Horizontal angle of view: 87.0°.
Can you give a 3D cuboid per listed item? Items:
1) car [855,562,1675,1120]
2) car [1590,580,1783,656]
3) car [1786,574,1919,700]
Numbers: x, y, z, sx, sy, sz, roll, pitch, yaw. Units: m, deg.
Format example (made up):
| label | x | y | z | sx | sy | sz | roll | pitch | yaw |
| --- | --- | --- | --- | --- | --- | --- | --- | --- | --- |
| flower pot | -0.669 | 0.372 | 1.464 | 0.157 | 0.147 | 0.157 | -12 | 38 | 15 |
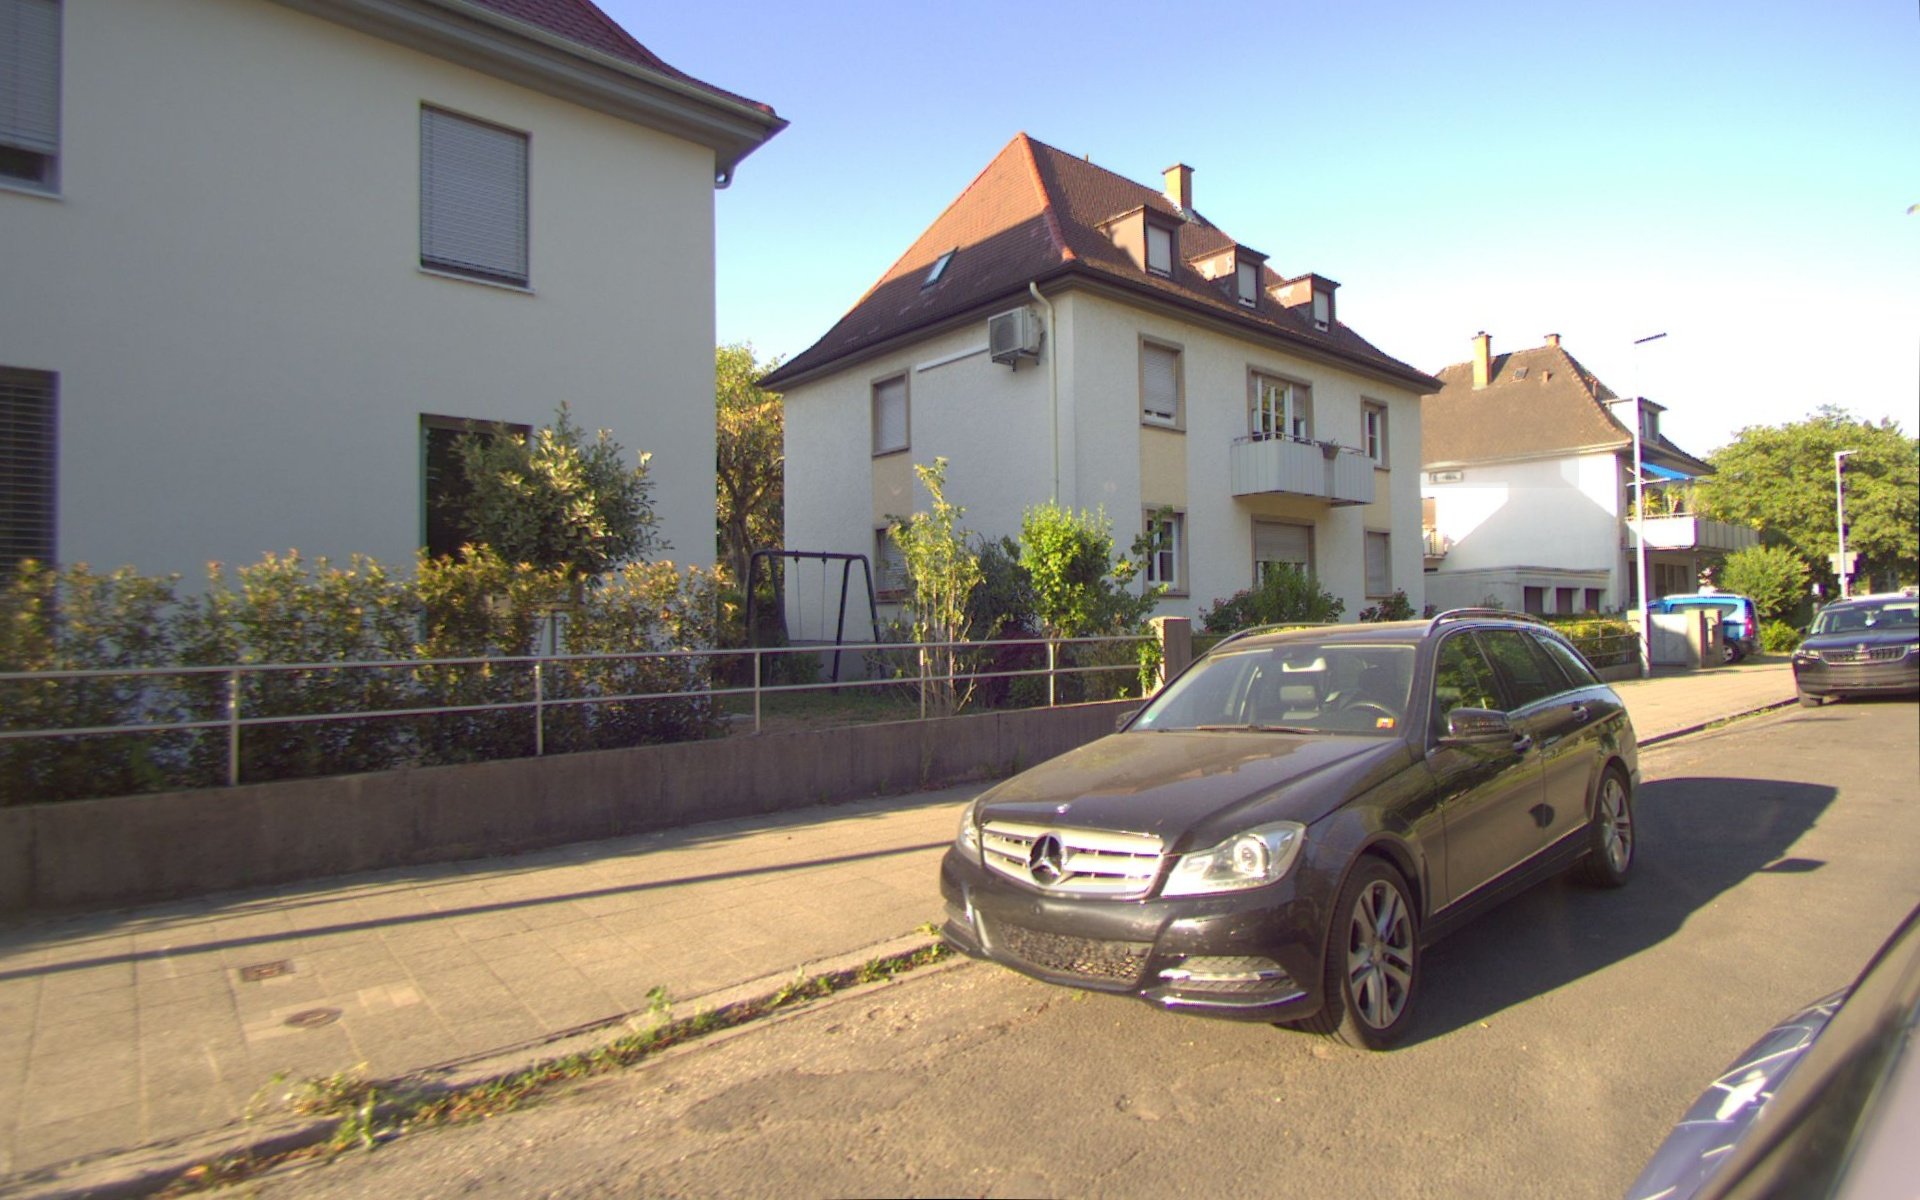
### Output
| label | x | y | z | sx | sy | sz | roll | pitch | yaw |
| --- | --- | --- | --- | --- | --- | --- | --- | --- | --- |
| car | 1.784 | 0.711 | 4.912 | 4.322 | 1.519 | 1.781 | 0 | -4 | -42 |
| car | 19.947 | 0.508 | 27.876 | 1.967 | 1.953 | 3.990 | 0 | -2 | -43 |
| car | 15.053 | 0.553 | 16.334 | 4.391 | 1.743 | 1.859 | 0 | -7 | -42 |
